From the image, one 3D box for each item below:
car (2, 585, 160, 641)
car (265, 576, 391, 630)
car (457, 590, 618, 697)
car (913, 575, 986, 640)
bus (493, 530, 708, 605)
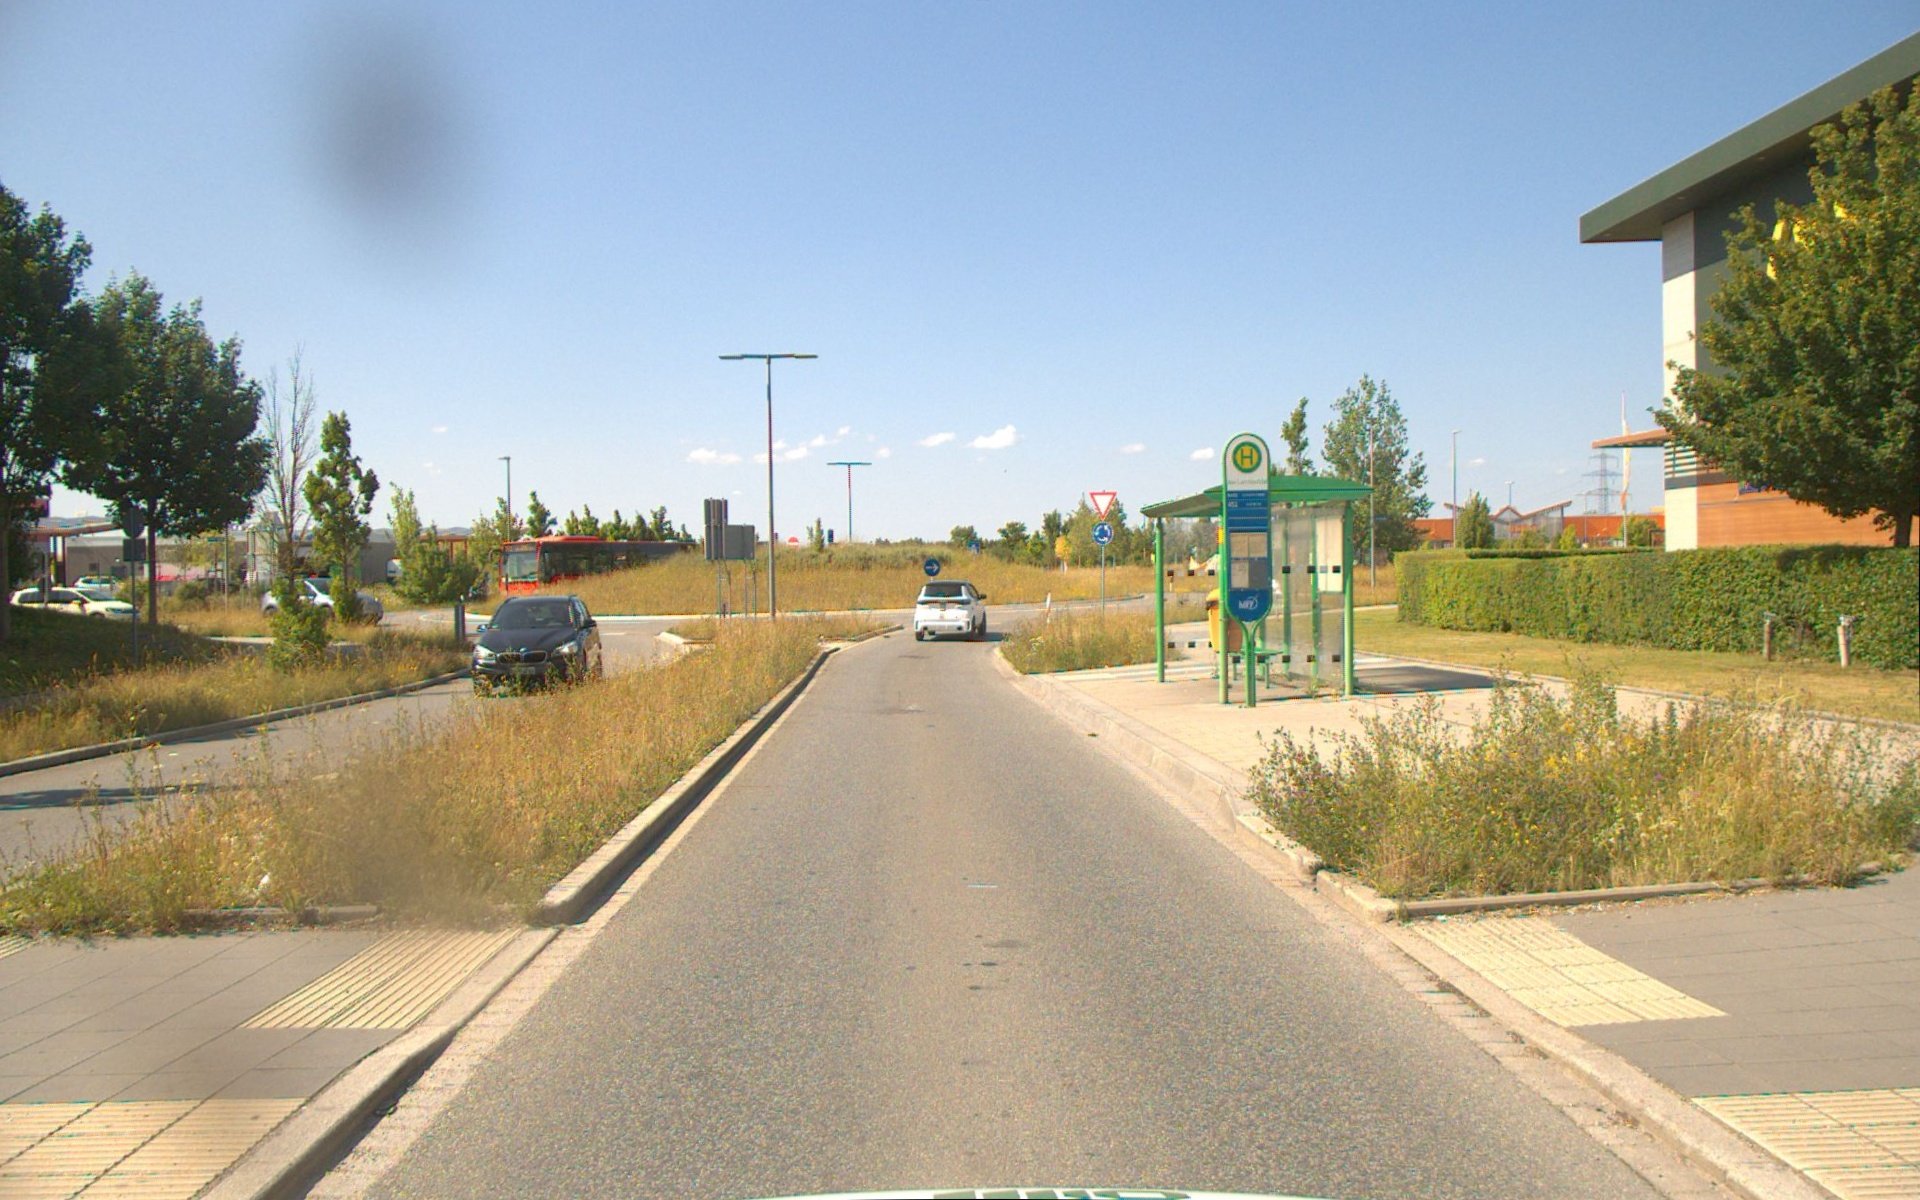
[{"bbox_3d":[-31.082,0.443,58.579,4.484,1.694,1.846,-3,2,-4],"label":"car"},{"bbox_3d":[-21.171,0.078,55.342,4.538,1.654,1.954,1,3,40],"label":"car"},{"bbox_3d":[-7.073,0.673,28.087,1.723,1.570,4.238,-3,1,-3],"label":"car"},{"bbox_3d":[-0.225,0.158,42.604,1.582,1.459,3.795,-1,2,4],"label":"car"},{"bbox_3d":[-17.014,-1.691,79.727,2.734,3.132,12.186,-1,2,29],"label":"bus"}]
